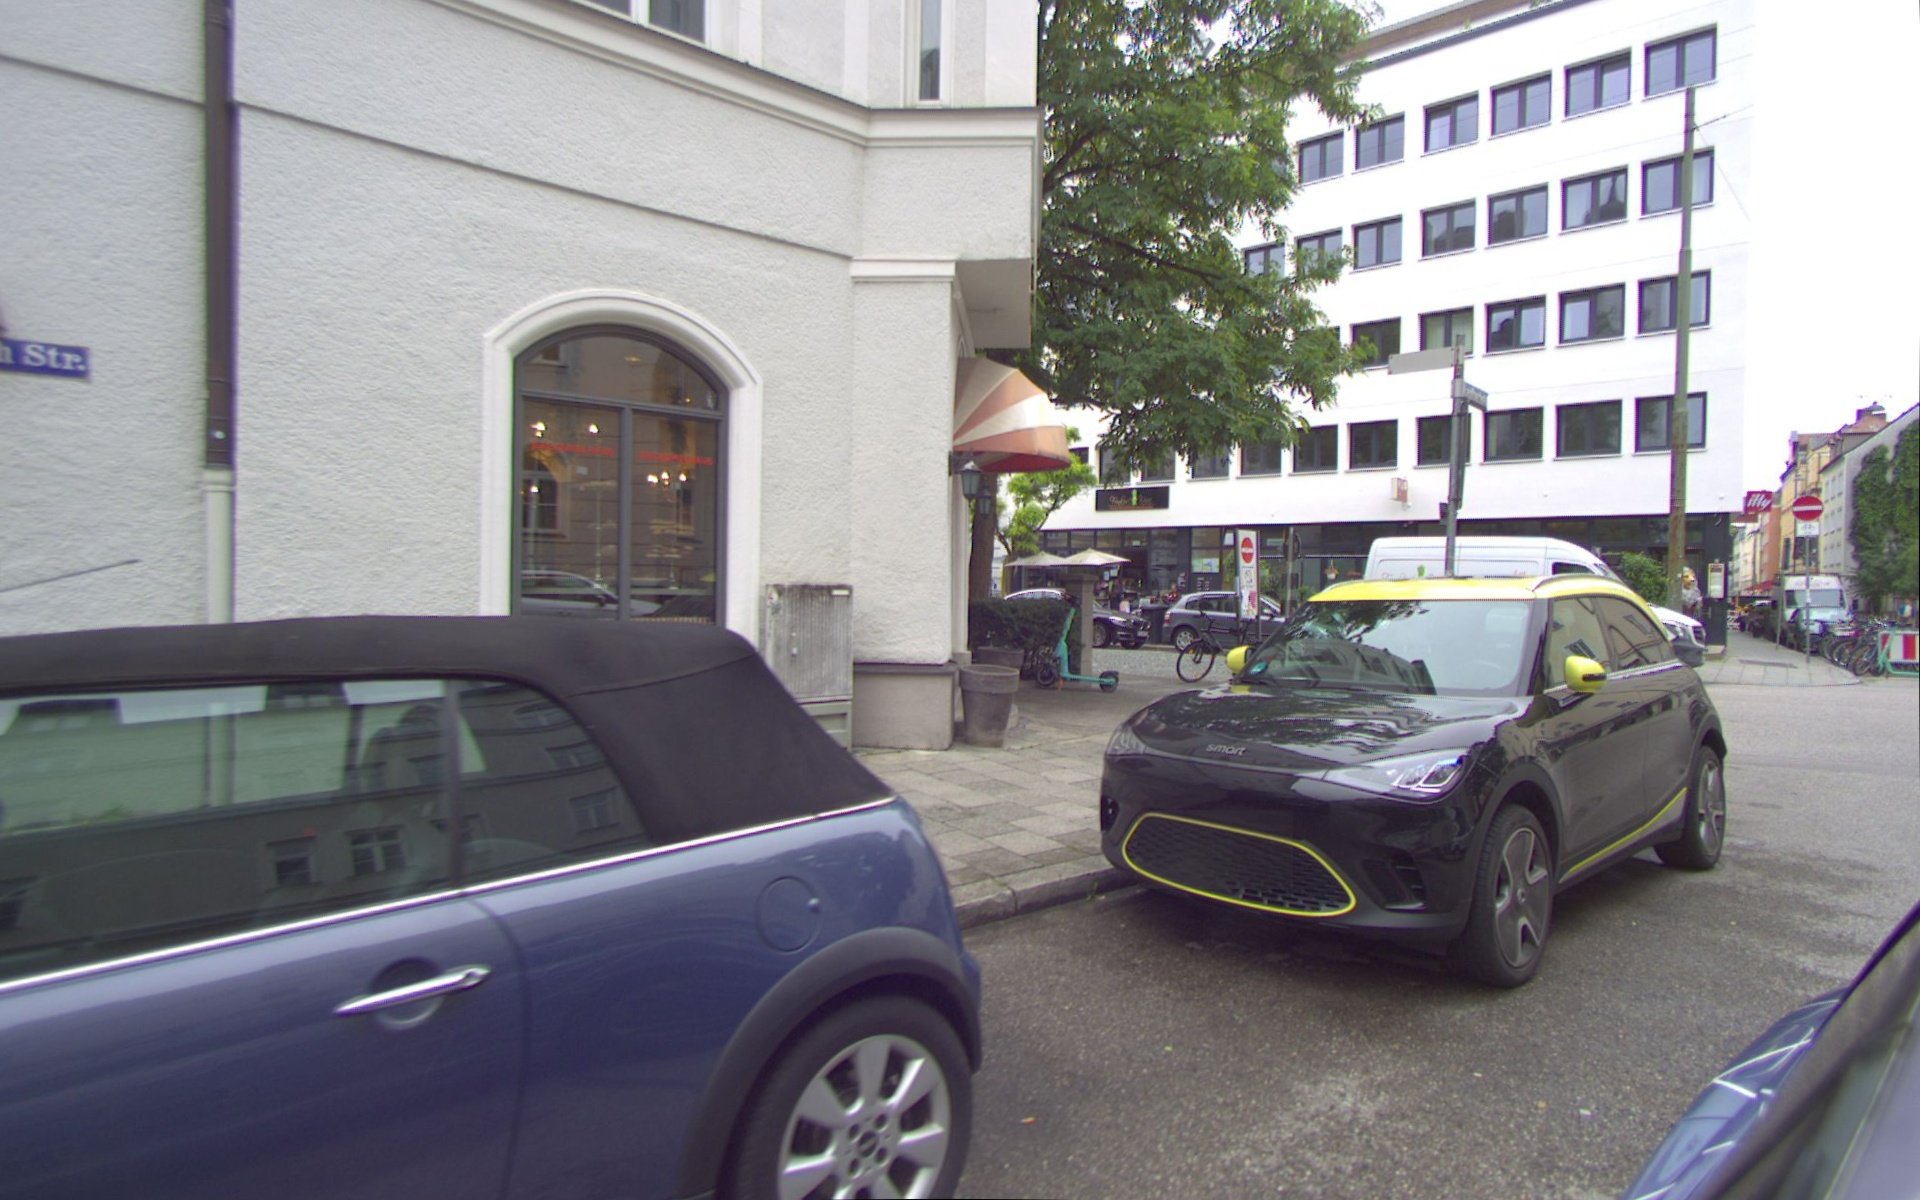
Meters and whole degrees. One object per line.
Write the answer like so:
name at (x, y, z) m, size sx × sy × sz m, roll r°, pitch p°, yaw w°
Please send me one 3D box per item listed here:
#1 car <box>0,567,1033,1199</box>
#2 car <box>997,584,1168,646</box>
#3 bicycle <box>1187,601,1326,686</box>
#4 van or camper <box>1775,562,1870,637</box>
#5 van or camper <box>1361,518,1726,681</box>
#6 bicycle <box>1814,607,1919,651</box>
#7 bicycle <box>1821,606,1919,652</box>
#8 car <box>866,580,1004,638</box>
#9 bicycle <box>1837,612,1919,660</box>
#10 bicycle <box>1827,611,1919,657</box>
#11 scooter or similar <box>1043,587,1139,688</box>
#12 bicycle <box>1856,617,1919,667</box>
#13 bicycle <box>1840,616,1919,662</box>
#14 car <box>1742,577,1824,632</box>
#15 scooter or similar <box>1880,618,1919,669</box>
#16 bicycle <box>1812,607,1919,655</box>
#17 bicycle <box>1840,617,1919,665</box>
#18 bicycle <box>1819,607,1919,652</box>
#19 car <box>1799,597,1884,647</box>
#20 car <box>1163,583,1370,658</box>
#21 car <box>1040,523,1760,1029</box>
car at (-1.690, 0.688, 1.951) m, size 3.429 × 1.418 × 1.670 m, roll 0°, pitch -2°, yaw -39°
car at (3.131, 0.374, 26.403) m, size 4.154 × 1.408 × 1.767 m, roll 1°, pitch -3°, yaw 42°
bicycle at (4.388, 0.609, 15.134) m, size 0.673 × 1.144 × 2.012 m, roll 1°, pitch 1°, yaw -35°
van or camper at (31.521, -0.058, 37.148) m, size 1.954 × 2.540 × 5.654 m, roll 1°, pitch 1°, yaw 34°
van or camper at (11.245, -0.013, 19.839) m, size 5.849 × 2.749 × 2.269 m, roll 1°, pitch -2°, yaw 42°
bicycle at (25.835, 0.811, 28.871) m, size 2.196 × 1.160 × 0.630 m, roll 1°, pitch 1°, yaw 38°
bicycle at (24.609, 0.772, 27.222) m, size 2.170 × 1.160 × 0.665 m, roll 1°, pitch 1°, yaw 38°
car at (-0.793, 0.256, 30.073) m, size 3.986 × 1.557 × 1.741 m, roll 1°, pitch -1°, yaw 43°
bicycle at (22.190, 0.847, 23.964) m, size 2.094 × 1.045 × 0.961 m, roll 1°, pitch 1°, yaw 38°
bicycle at (22.817, 0.832, 24.935) m, size 2.142 × 1.045 × 0.961 m, roll 1°, pitch 1°, yaw 38°
scooter or similar at (1.702, 0.480, 13.216) m, size 1.156 × 1.286 × 0.401 m, roll 1°, pitch 0°, yaw -11°
bicycle at (20.172, 0.886, 21.221) m, size 1.984 × 0.976 × 0.960 m, roll 1°, pitch 1°, yaw 38°
bicycle at (21.548, 0.882, 23.084) m, size 2.163 × 0.976 × 0.961 m, roll 1°, pitch 1°, yaw 38°
car at (34.165, 0.159, 42.135) m, size 1.983 × 2.161 × 3.958 m, roll 1°, pitch 1°, yaw 30°
scooter or similar at (19.422, 0.883, 20.384) m, size 1.276 × 0.988 × 0.492 m, roll 1°, pitch 0°, yaw 38°
bicycle at (23.478, 0.777, 26.143) m, size 2.197 × 1.160 × 0.730 m, roll 1°, pitch 1°, yaw 38°
bicycle at (20.802, 0.898, 22.218) m, size 2.166 × 0.988 × 0.961 m, roll 1°, pitch 1°, yaw 38°
bicycle at (25.431, 0.806, 28.232) m, size 2.194 × 1.160 × 0.686 m, roll 1°, pitch 1°, yaw 38°
car at (27.226, 0.640, 31.361) m, size 1.750 × 1.412 × 3.945 m, roll 1°, pitch 1°, yaw 38°
car at (6.964, 0.447, 23.180) m, size 4.124 × 1.505 × 1.866 m, roll 1°, pitch -2°, yaw 38°
car at (2.507, 0.594, 5.304) m, size 4.021 × 1.639 × 1.839 m, roll 0°, pitch -2°, yaw -40°
